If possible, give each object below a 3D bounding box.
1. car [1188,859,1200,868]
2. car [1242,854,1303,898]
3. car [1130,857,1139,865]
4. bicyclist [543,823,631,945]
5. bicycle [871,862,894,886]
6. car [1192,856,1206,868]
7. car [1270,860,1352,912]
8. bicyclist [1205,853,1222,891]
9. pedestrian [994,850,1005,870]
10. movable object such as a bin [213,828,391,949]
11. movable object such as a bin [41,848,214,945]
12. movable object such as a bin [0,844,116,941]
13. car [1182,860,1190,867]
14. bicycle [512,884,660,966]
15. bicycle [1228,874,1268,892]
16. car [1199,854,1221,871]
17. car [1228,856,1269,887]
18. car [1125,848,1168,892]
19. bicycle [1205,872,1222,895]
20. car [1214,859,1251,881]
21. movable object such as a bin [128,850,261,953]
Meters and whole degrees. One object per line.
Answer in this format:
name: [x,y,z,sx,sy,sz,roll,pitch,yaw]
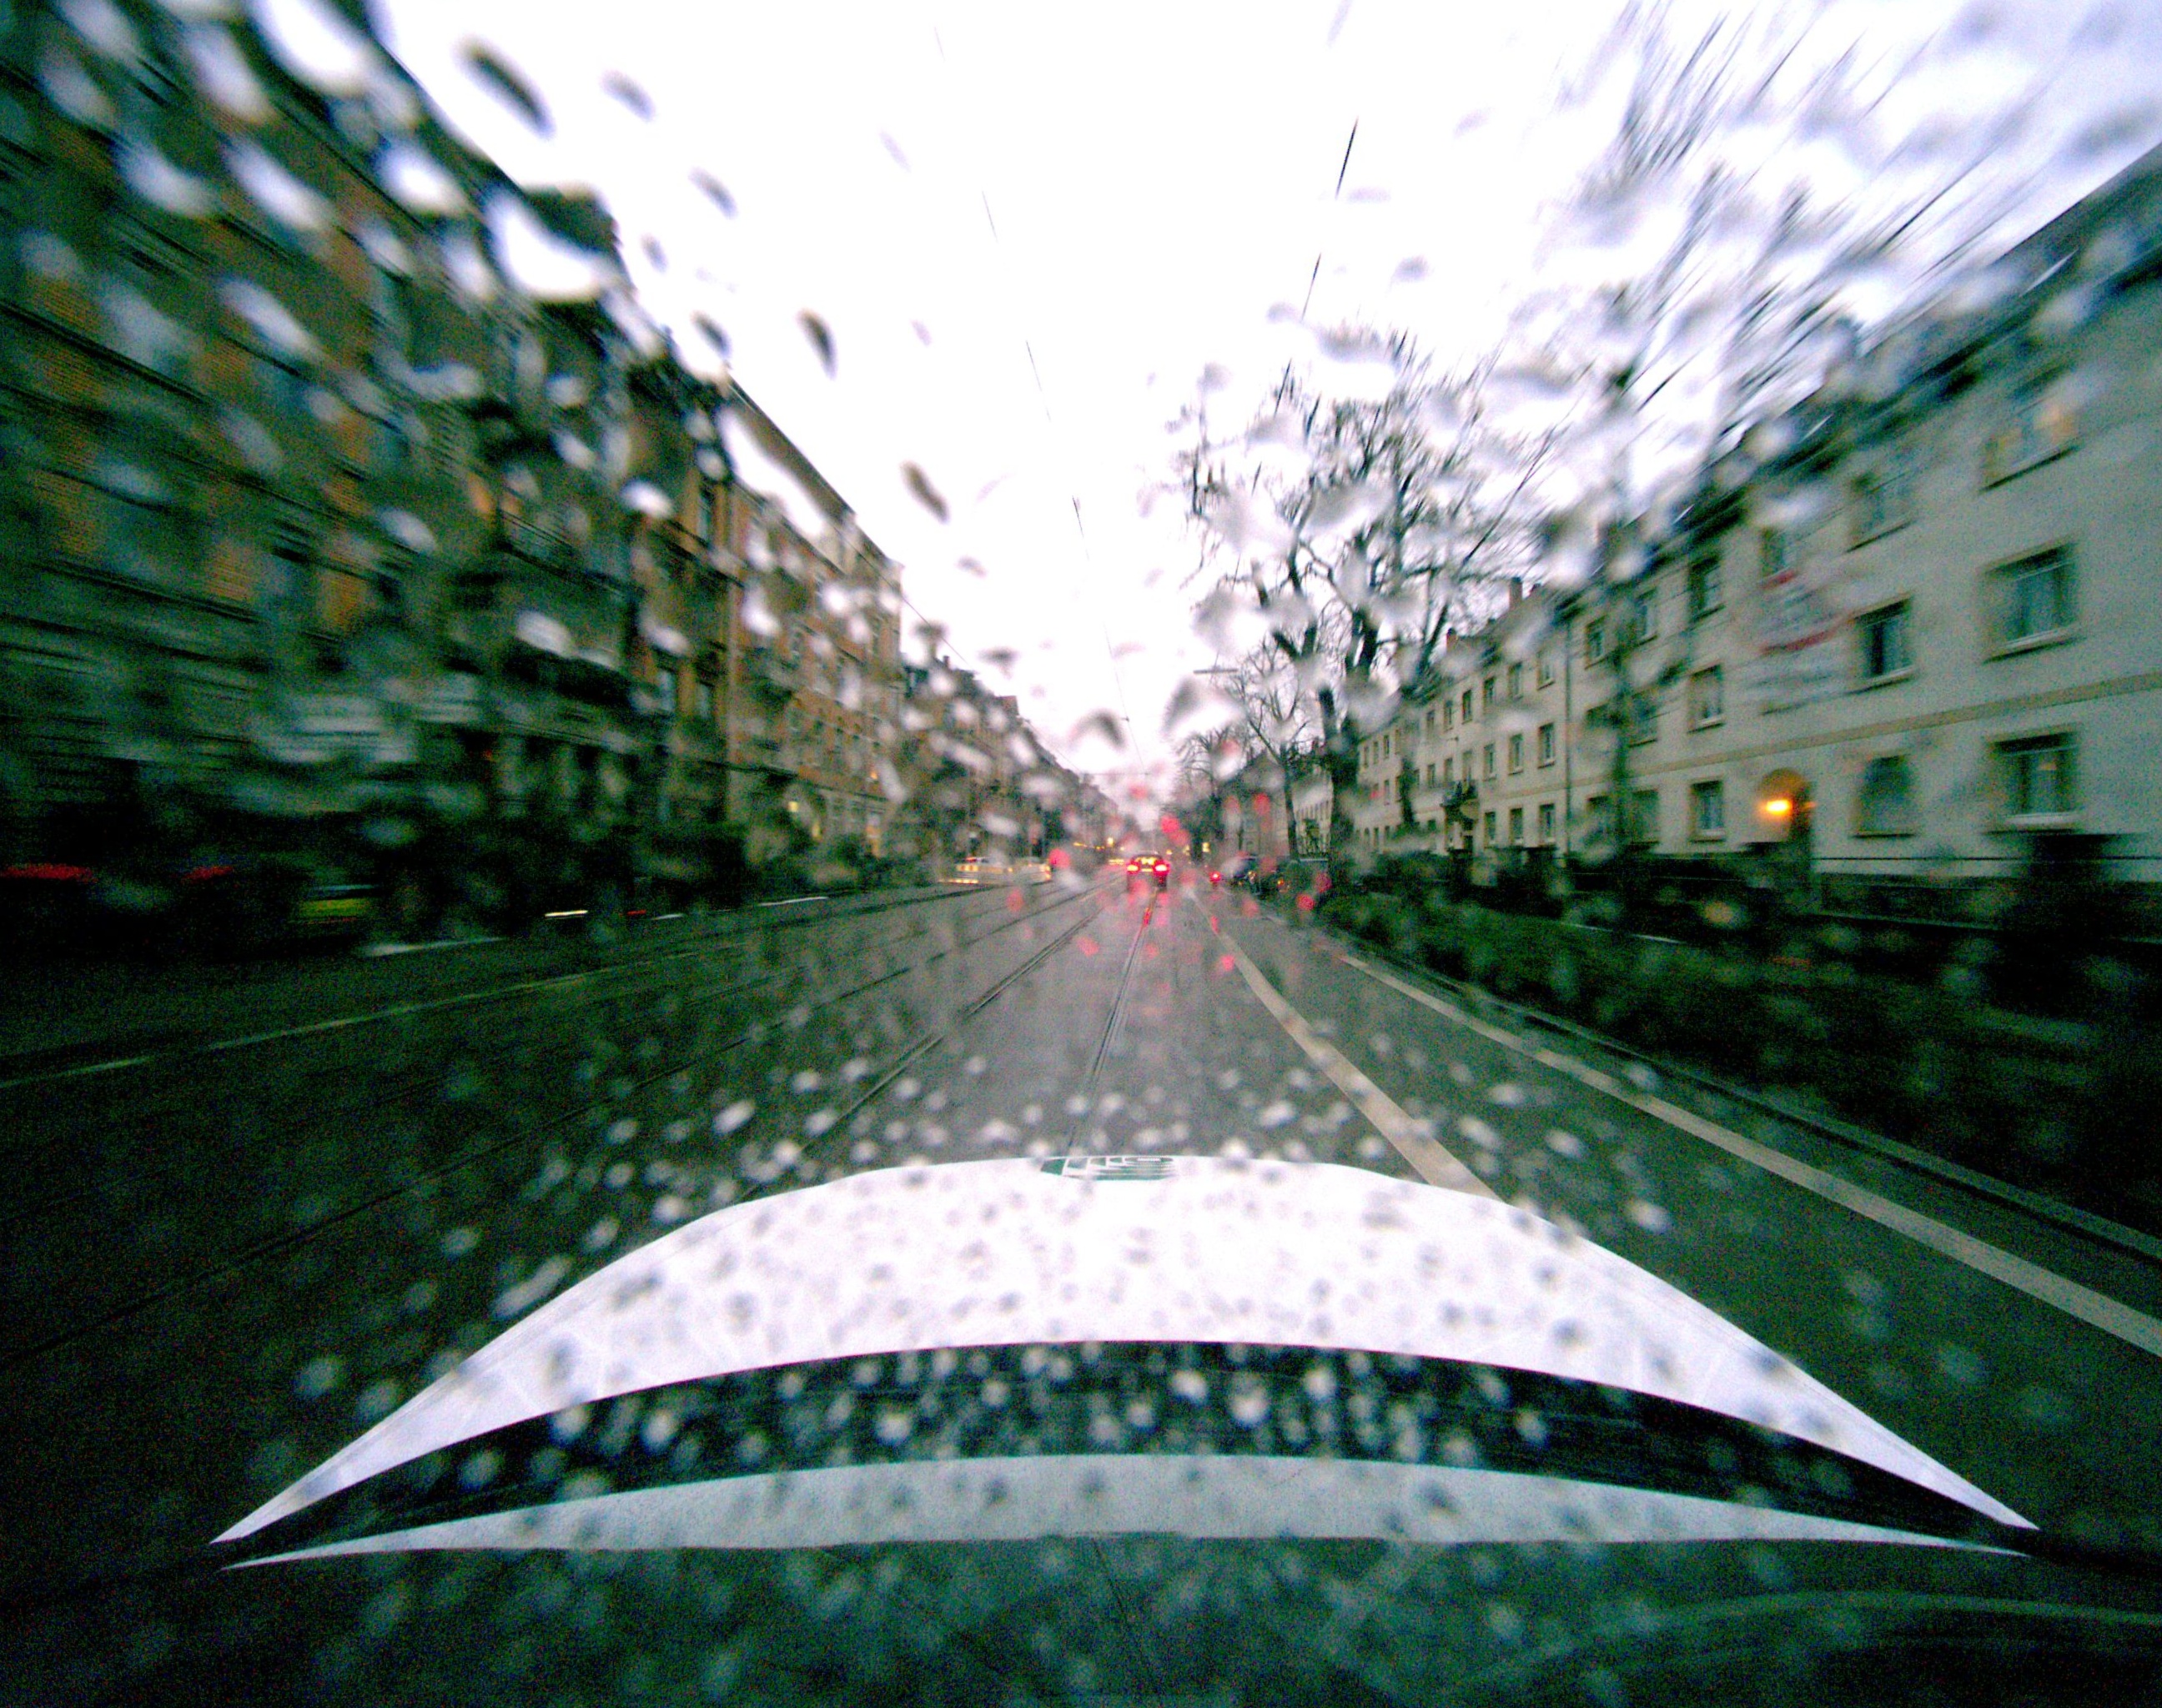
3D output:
car: [17.960,1.502,129.877,1.776,1.509,4.115,0,0,6]
car: [8.048,0.884,34.632,1.896,1.727,4.909,0,0,5]
car: [12.608,1.631,193.164,1.914,1.720,4.006,0,0,6]
bicyclist: [-6.806,0.405,11.254,0.680,1.616,0.767,1,-1,7]
bicycle: [-8.093,0.815,33.178,0.262,0.915,1.688,6,0,6]
car: [16.191,1.088,111.912,1.776,1.509,4.115,0,0,6]
car: [7.141,0.941,25.632,1.777,1.509,3.993,0,0,5]
bicyclist: [6.169,0.843,37.943,0.726,1.736,0.767,1,-1,7]
pedestrian: [-7.194,0.512,71.597,0.723,1.773,0.763,1,-1,-29]
movable object such as a bin: [-11.050,0.461,11.616,1.236,1.586,1.311,1,0,11]
movable object such as a bin: [-12.717,0.545,10.903,1.180,1.207,0.946,1,0,3]
movable object such as a bin: [-13.940,0.500,10.938,1.005,1.244,0.774,1,0,3]
car: [24.353,2.141,188.400,1.776,1.509,4.115,0,0,6]
bicycle: [-6.794,0.939,11.318,0.675,0.972,1.937,1,0,7]
bicycle: [8.547,1.463,41.664,1.999,0.916,0.466,0,0,14]
car: [11.780,0.750,74.512,1.776,1.509,4.116,1,0,7]
car: [9.240,0.918,45.233,1.895,1.610,4.570,0,0,7]
car: [3.131,0.730,38.591,1.793,1.871,4.024,3,0,5]
bicycle: [6.151,1.355,37.917,0.727,1.007,1.767,1,0,7]
car: [10.383,1.078,56.051,1.872,1.420,4.346,-1,0,2]
movable object such as a bin: [-11.646,0.603,10.725,0.891,1.292,0.747,1,0,3]
